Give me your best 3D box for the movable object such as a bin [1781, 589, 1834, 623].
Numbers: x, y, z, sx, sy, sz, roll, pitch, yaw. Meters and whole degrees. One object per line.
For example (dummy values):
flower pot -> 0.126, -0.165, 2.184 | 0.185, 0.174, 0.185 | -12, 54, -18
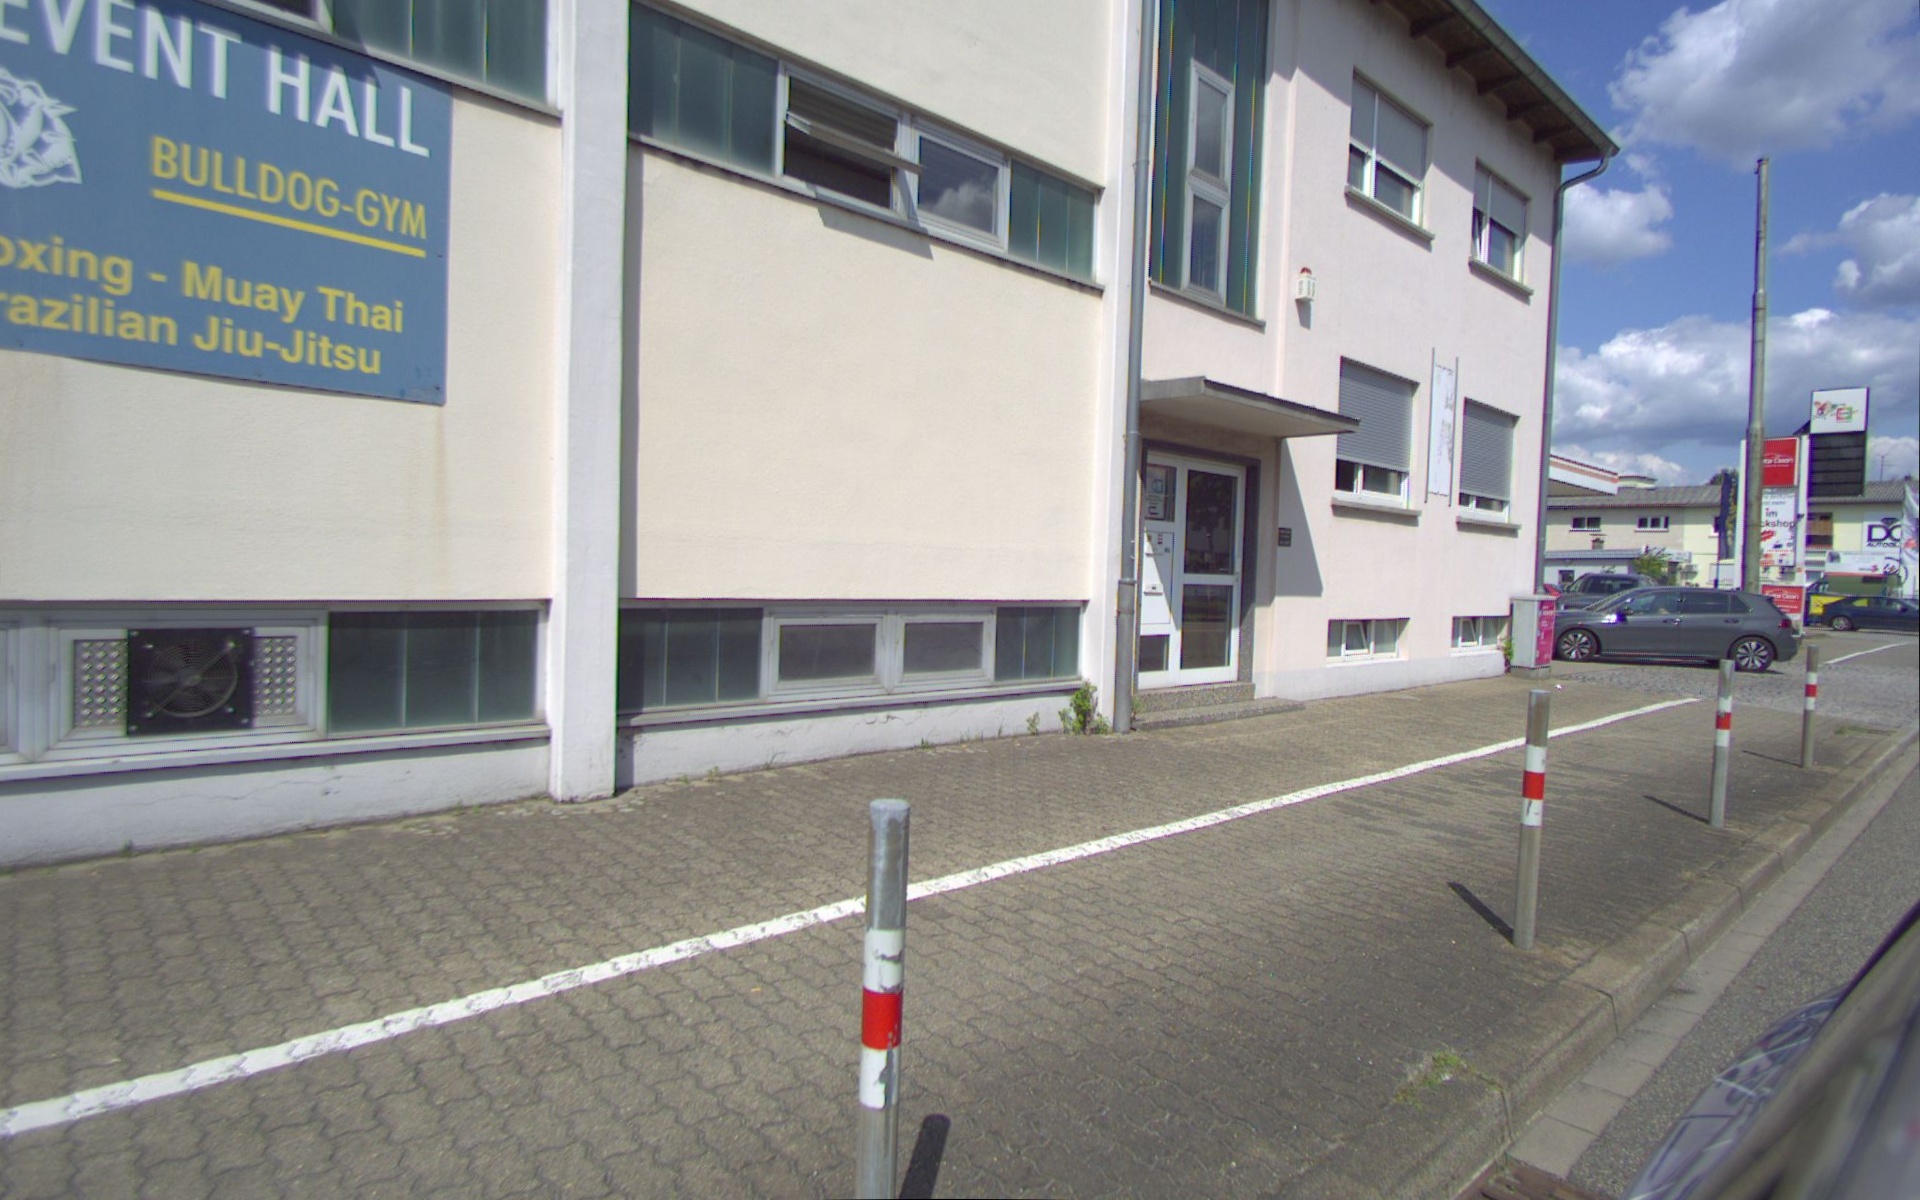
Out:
movable object such as a bin -> 37.055, 0.229, 44.251 | 1.735, 1.427, 1.534 | -1, 1, -42

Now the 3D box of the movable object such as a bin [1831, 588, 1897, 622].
movable object such as a bin -> 38.646, 0.188, 43.267 | 1.679, 1.364, 1.966 | -1, 1, -42

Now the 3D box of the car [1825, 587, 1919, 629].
car -> 34.919, 0.303, 37.489 | 1.616, 1.425, 4.068 | -1, 3, -35

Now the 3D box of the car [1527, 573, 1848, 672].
car -> 12.908, 0.343, 18.315 | 4.330, 1.435, 1.732 | 3, 1, 22

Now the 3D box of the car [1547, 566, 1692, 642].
car -> 16.252, 0.050, 24.839 | 4.539, 1.645, 1.948 | 0, 3, -44

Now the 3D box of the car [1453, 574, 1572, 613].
car -> 23.713, -0.320, 43.553 | 1.740, 1.441, 4.145 | -1, 4, -40

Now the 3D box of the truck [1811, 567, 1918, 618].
truck -> 49.825, -0.457, 55.807 | 2.071, 2.693, 4.180 | -1, 1, -40
